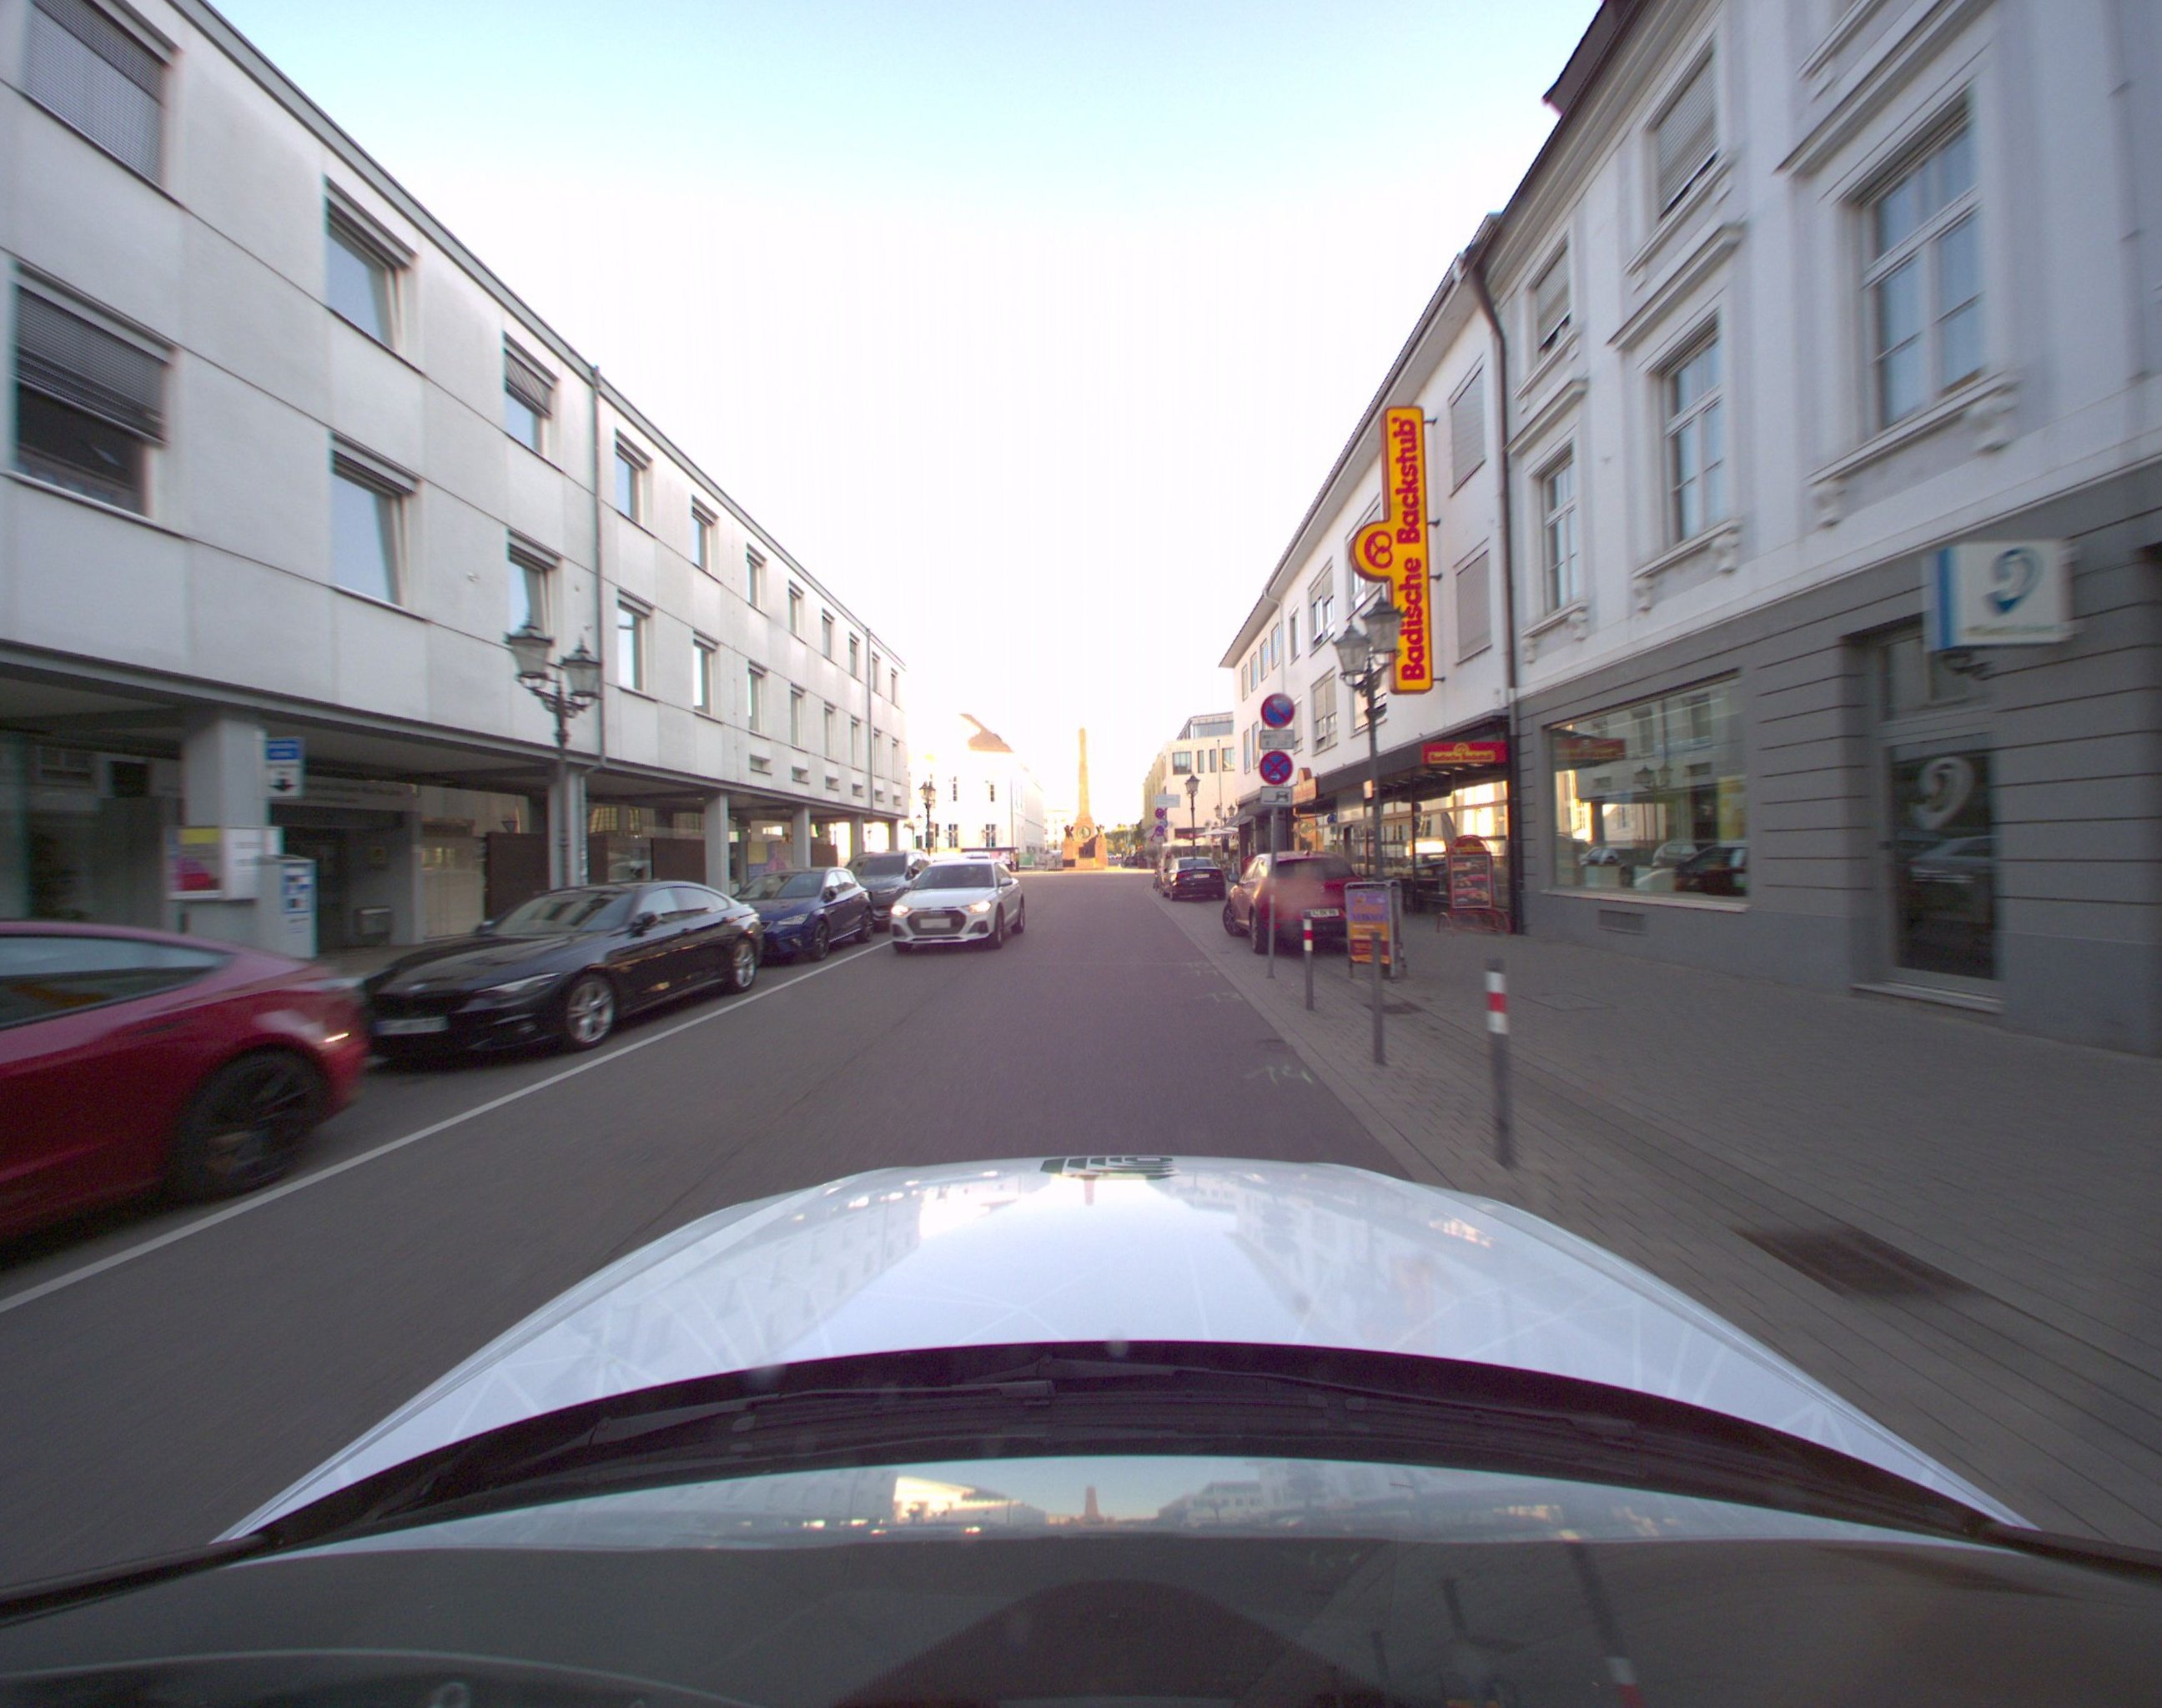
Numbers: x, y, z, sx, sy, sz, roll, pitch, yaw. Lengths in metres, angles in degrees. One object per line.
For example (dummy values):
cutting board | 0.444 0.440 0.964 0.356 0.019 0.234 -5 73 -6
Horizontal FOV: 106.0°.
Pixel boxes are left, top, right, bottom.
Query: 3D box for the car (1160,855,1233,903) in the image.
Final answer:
car | 3.786 0.774 27.337 1.796 1.464 4.115 -1 0 -1

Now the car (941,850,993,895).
car | -4.914 0.756 35.650 1.990 1.816 4.775 -1 0 -5

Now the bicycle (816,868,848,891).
bicycle | -11.621 1.168 38.116 0.730 0.983 2.335 -1 0 1

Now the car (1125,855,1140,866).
car | 6.871 0.880 108.926 1.985 1.464 4.004 -1 0 3

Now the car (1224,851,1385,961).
car | 3.499 0.738 13.420 1.752 1.523 3.679 -1 0 2

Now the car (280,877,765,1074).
car | -5.043 0.989 8.209 1.986 1.354 4.002 -1 0 2

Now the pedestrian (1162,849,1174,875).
pedestrian | 5.813 0.532 54.448 0.687 1.647 0.696 -2 0 1

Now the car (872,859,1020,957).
car | -2.211 0.837 14.412 1.757 1.422 4.002 -1 0 2

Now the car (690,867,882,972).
car | -4.764 0.979 13.800 1.667 1.400 4.001 -2 0 1

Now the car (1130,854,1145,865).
car | 8.110 0.829 117.373 1.985 1.464 4.004 -1 0 3

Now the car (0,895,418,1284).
car | -5.109 0.990 3.026 1.778 1.408 4.091 -2 0 3

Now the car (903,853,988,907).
car | -4.473 0.819 27.464 1.986 1.662 4.002 -1 0 2

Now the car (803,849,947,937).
car | -4.624 0.803 19.061 1.986 1.728 4.518 -3 0 2
